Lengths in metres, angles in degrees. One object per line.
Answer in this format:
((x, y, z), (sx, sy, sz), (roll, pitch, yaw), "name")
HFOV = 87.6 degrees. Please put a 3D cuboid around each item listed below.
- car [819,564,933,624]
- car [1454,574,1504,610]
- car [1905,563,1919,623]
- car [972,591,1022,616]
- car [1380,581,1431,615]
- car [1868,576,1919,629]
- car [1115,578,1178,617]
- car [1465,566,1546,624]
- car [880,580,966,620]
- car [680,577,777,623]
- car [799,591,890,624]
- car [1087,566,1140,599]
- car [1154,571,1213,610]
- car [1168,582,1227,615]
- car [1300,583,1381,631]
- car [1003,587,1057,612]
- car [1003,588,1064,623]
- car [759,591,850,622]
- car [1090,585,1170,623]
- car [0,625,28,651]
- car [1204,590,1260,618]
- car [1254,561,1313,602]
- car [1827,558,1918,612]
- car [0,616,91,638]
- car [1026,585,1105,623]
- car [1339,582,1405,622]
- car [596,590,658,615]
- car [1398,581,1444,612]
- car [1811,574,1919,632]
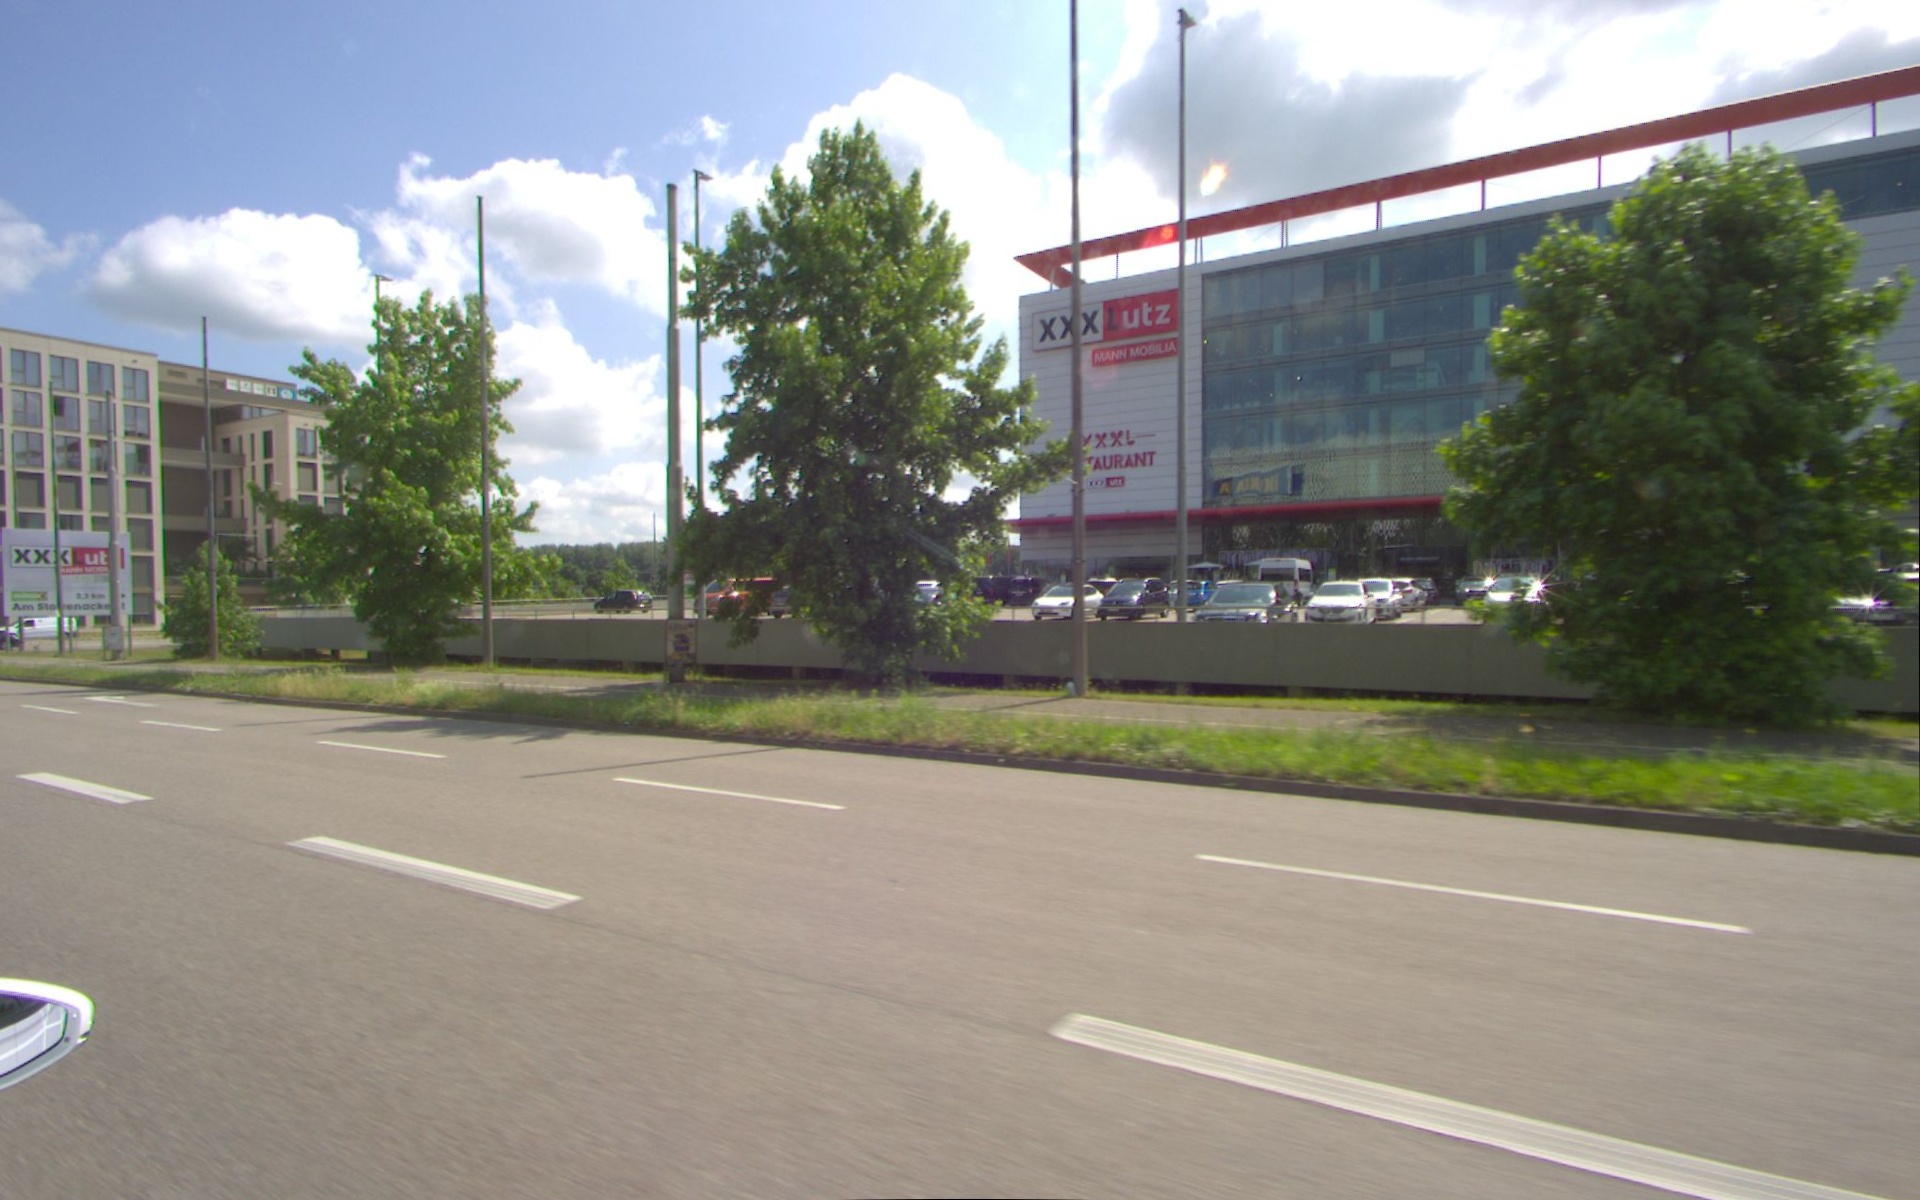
((-3.501, -0.174, 43.136), (2.031, 2.396, 5.652), (-1, -1, 30), "car")
((24.771, -0.338, 47.735), (1.778, 1.639, 3.979), (0, -1, 32), "car")
((32.957, -0.238, 32.915), (1.971, 2.040, 3.980), (0, -1, 32), "car")
((2.311, 0.238, 61.421), (1.562, 1.484, 3.519), (0, -1, 32), "car")
((19.846, -0.069, 44.554), (1.605, 1.438, 3.981), (0, -1, 31), "car")
((26.941, 0.076, 27.948), (1.591, 1.405, 3.761), (-1, -1, 30), "car")
((9.417, -0.085, 50.353), (1.750, 1.862, 3.876), (0, -1, 33), "car")
((16.233, -0.093, 29.790), (1.970, 1.591, 3.983), (-1, -1, 29), "car")
((-1.474, 0.030, 41.455), (1.721, 1.534, 3.982), (-2, -2, 30), "car")
((-12.050, 0.058, 52.459), (1.958, 2.223, 5.154), (-1, -2, 31), "car")
((-5.627, 0.387, 49.526), (1.957, 1.503, 4.861), (-1, -1, 30), "car")
((8.882, -0.976, 57.690), (1.724, 1.728, 3.736), (0, -1, 31), "car")
((12.322, -0.480, 55.084), (1.971, 2.040, 3.980), (0, -1, 32), "car")
((11.656, -0.040, 49.081), (1.718, 1.536, 3.788), (0, -1, 32), "car")
((12.158, 0.184, 31.856), (1.864, 1.408, 4.178), (0, 1, 29), "car")
((4.242, 0.007, 60.220), (1.611, 1.461, 3.889), (0, -1, 32), "car")
((4.059, 0.323, 54.992), (1.749, 1.862, 3.878), (0, -1, 32), "car")
((-7.793, 0.365, 50.766), (1.957, 1.473, 4.861), (-1, -1, 30), "car")
((7.039, 0.120, 41.208), (1.865, 1.453, 4.175), (0, 1, 31), "car")
((-59.764, 2.369, 61.136), (1.610, 1.523, 4.118), (1, 1, 45), "car")
((14.539, 0.241, 53.390), (1.883, 1.452, 3.788), (0, -1, 32), "car")
((16.618, -0.911, 51.356), (1.971, 1.977, 3.980), (0, -1, 32), "car")
((36.735, -0.538, 40.413), (1.971, 2.040, 3.980), (0, -1, 31), "car")
((-72.394, 2.103, 79.320), (1.971, 1.628, 4.975), (0, -1, 31), "car")
((4.466, 0.135, 41.980), (1.701, 1.453, 4.175), (0, 1, 31), "car")
((15.402, 0.037, 37.349), (1.864, 1.408, 4.178), (0, 1, 29), "car")
((-22.081, 0.185, 66.384), (3.810, 1.541, 1.867), (-2, -1, 29), "car")
((22.555, -0.156, 48.973), (1.605, 1.438, 3.981), (0, -1, 31), "car")
((22.972, 0.034, 25.081), (1.738, 1.343, 4.351), (0, 1, 30), "car")
